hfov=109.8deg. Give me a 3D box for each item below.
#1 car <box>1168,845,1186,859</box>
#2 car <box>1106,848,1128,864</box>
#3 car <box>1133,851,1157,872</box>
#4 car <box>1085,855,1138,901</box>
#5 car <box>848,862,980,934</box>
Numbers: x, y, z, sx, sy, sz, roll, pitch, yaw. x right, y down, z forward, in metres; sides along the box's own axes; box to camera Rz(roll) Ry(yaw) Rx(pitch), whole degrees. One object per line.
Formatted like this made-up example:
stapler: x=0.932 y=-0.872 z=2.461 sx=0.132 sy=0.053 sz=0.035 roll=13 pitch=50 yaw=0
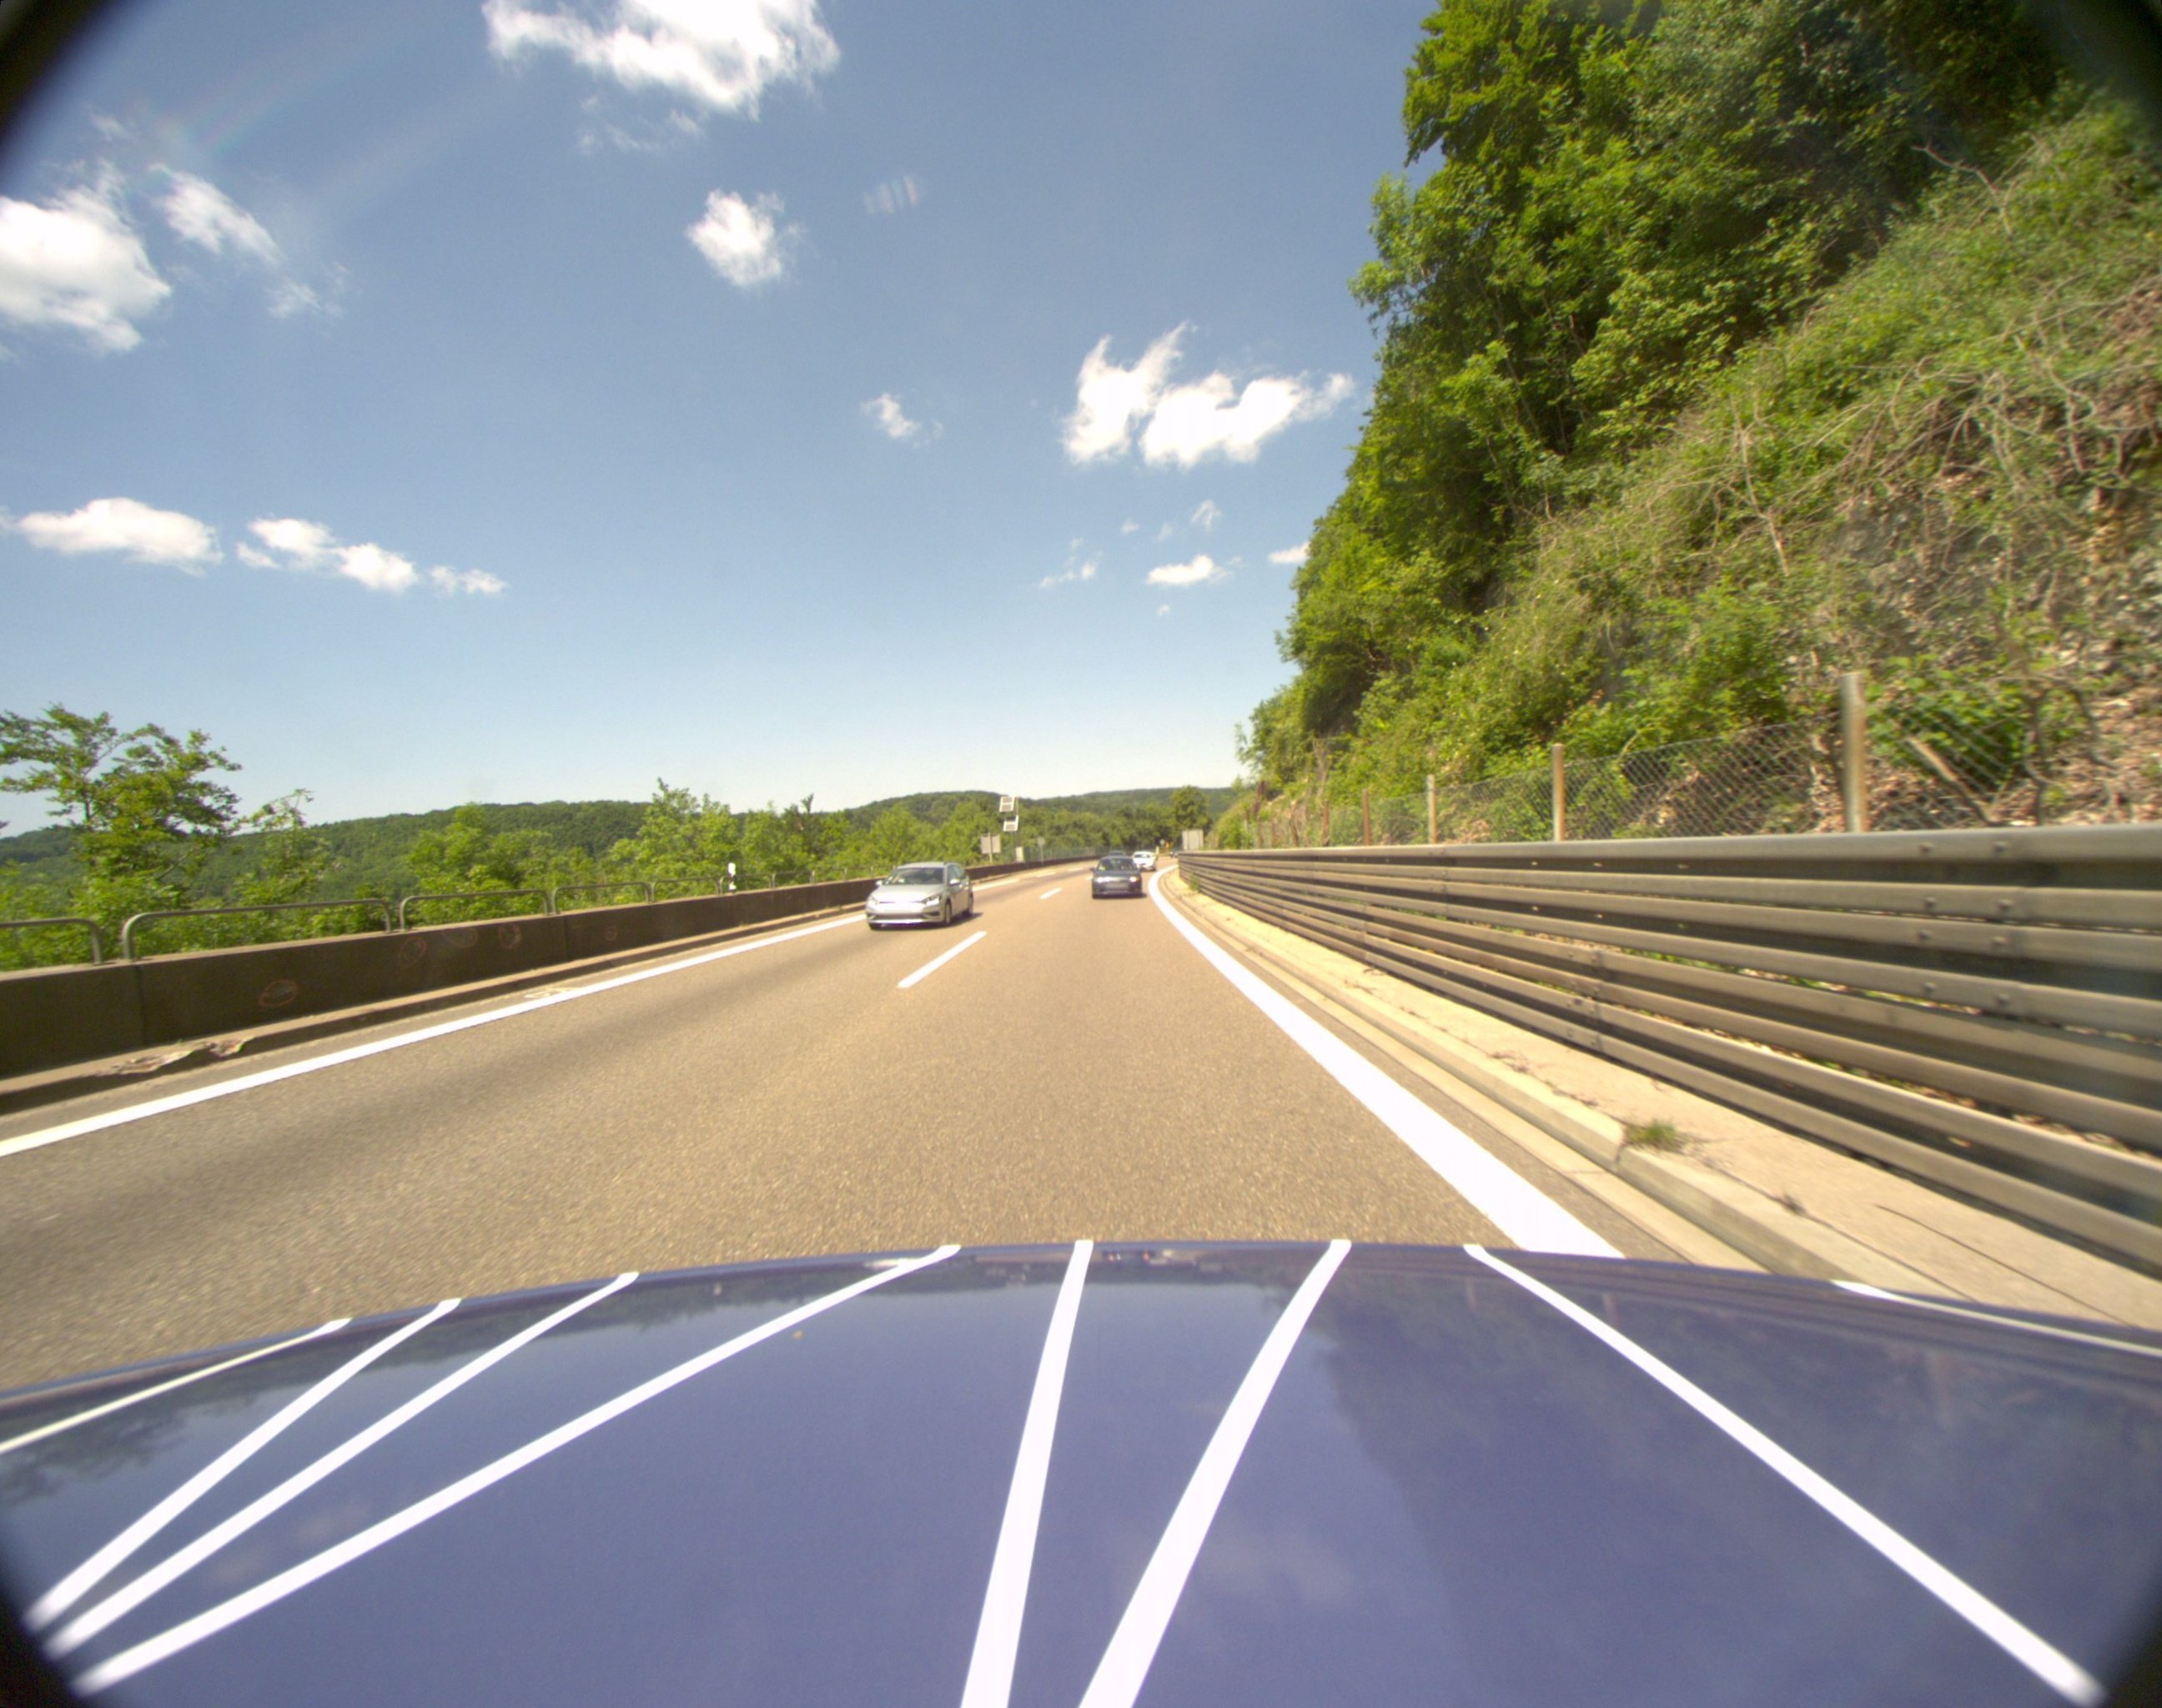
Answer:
car: x=13.978 y=-0.300 z=110.550 sx=1.996 sy=2.002 sz=4.005 roll=-2 pitch=0 yaw=17
car: x=3.594 y=0.163 z=75.679 sx=1.875 sy=1.565 sz=4.002 roll=-1 pitch=0 yaw=6
car: x=4.777 y=0.523 z=57.217 sx=1.703 sy=1.432 sz=4.044 roll=-1 pitch=1 yaw=4
car: x=1.094 y=0.777 z=26.663 sx=1.669 sy=1.415 sz=4.044 roll=-1 pitch=1 yaw=3
car: x=-3.812 y=0.948 z=18.169 sx=1.972 sy=1.370 sz=4.294 roll=-1 pitch=1 yaw=3
